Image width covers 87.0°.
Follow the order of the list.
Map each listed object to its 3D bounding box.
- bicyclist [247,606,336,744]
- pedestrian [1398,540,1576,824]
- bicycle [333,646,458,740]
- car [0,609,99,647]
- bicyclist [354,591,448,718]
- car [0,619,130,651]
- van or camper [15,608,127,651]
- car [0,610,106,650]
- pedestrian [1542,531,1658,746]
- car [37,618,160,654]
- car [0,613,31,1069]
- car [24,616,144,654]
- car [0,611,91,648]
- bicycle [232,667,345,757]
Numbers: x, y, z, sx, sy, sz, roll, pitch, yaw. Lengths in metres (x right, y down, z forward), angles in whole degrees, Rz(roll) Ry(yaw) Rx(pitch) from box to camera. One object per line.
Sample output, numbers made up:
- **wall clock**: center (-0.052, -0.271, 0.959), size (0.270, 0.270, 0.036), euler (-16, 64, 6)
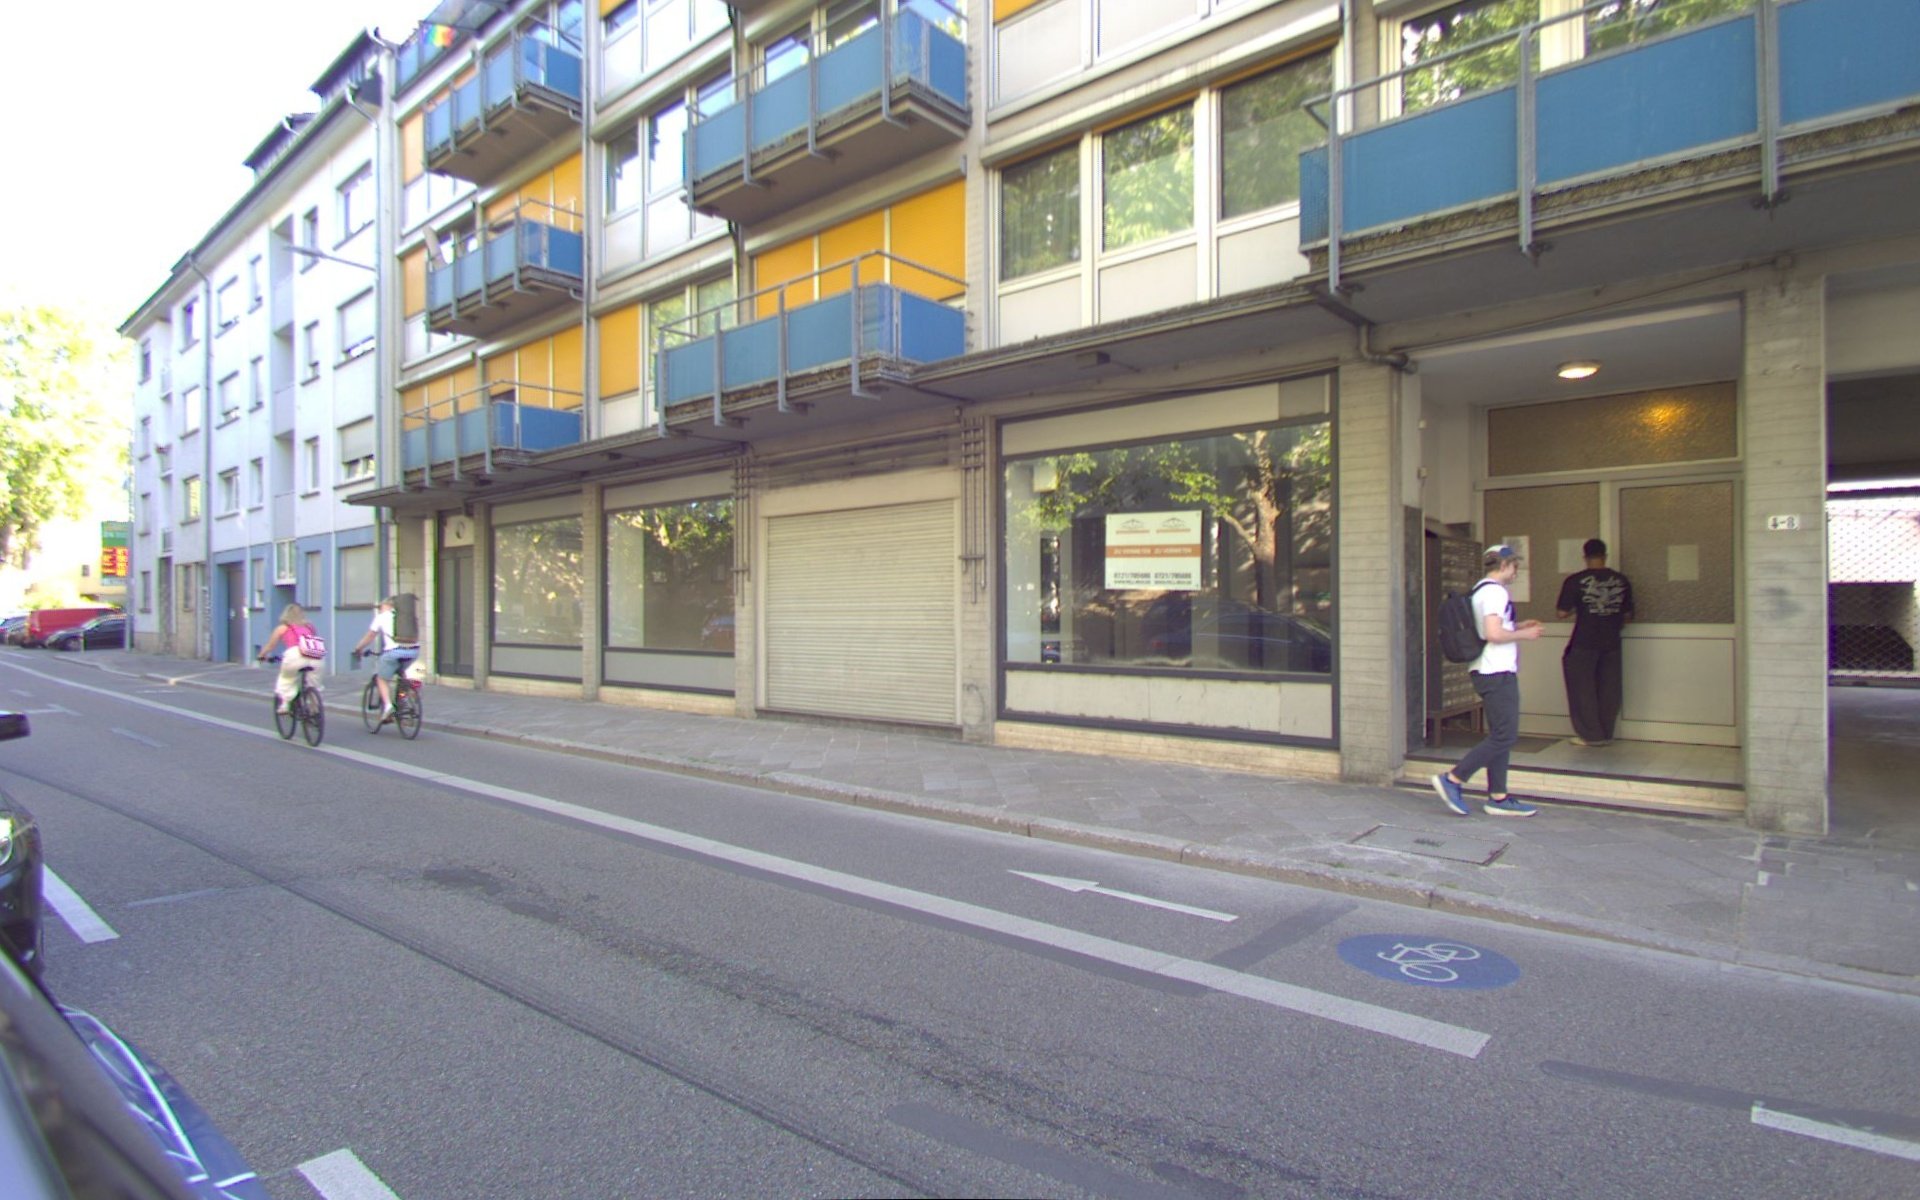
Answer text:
- **bicyclist**: center (-8.115, 0.879, 12.281), size (0.981, 1.590, 0.677), euler (-1, -1, 41)
- **pedestrian**: center (3.523, 0.530, 6.824), size (0.869, 1.813, 0.599), euler (-2, 0, 9)
- **bicycle**: center (-7.372, 1.167, 13.189), size (1.835, 1.087, 0.854), euler (-1, -1, 41)
- **car**: center (-55.403, 1.673, 61.147), size (1.999, 2.210, 4.927), euler (-1, -1, 41)
- **bicyclist**: center (-7.238, 0.679, 13.099), size (0.839, 1.566, 0.833), euler (-1, -1, 41)
- **car**: center (-45.722, 1.752, 51.698), size (1.999, 1.506, 4.927), euler (-1, -1, 41)
- **van or camper**: center (-43.889, 1.431, 50.006), size (1.999, 2.029, 3.946), euler (-1, -1, 40)
- **car**: center (-53.315, 1.738, 59.197), size (1.999, 2.210, 4.927), euler (-1, -1, 41)
- **pedestrian**: center (5.355, 0.315, 8.498), size (0.655, 1.726, 0.546), euler (-1, -1, 15)
- **car**: center (-39.753, 1.632, 46.779), size (1.999, 1.506, 4.093), euler (-1, -1, 41)
- **car**: center (-5.073, 0.811, 3.914), size (3.861, 1.467, 1.718), euler (-1, -1, 40)
- **car**: center (-41.633, 1.621, 48.164), size (1.999, 1.703, 4.093), euler (-1, -1, 41)
- **car**: center (-57.396, 1.823, 62.857), size (1.999, 2.210, 4.927), euler (-1, -1, 41)
- **bicycle**: center (-8.204, 1.327, 12.331), size (1.862, 0.936, 0.686), euler (-1, -1, 41)
